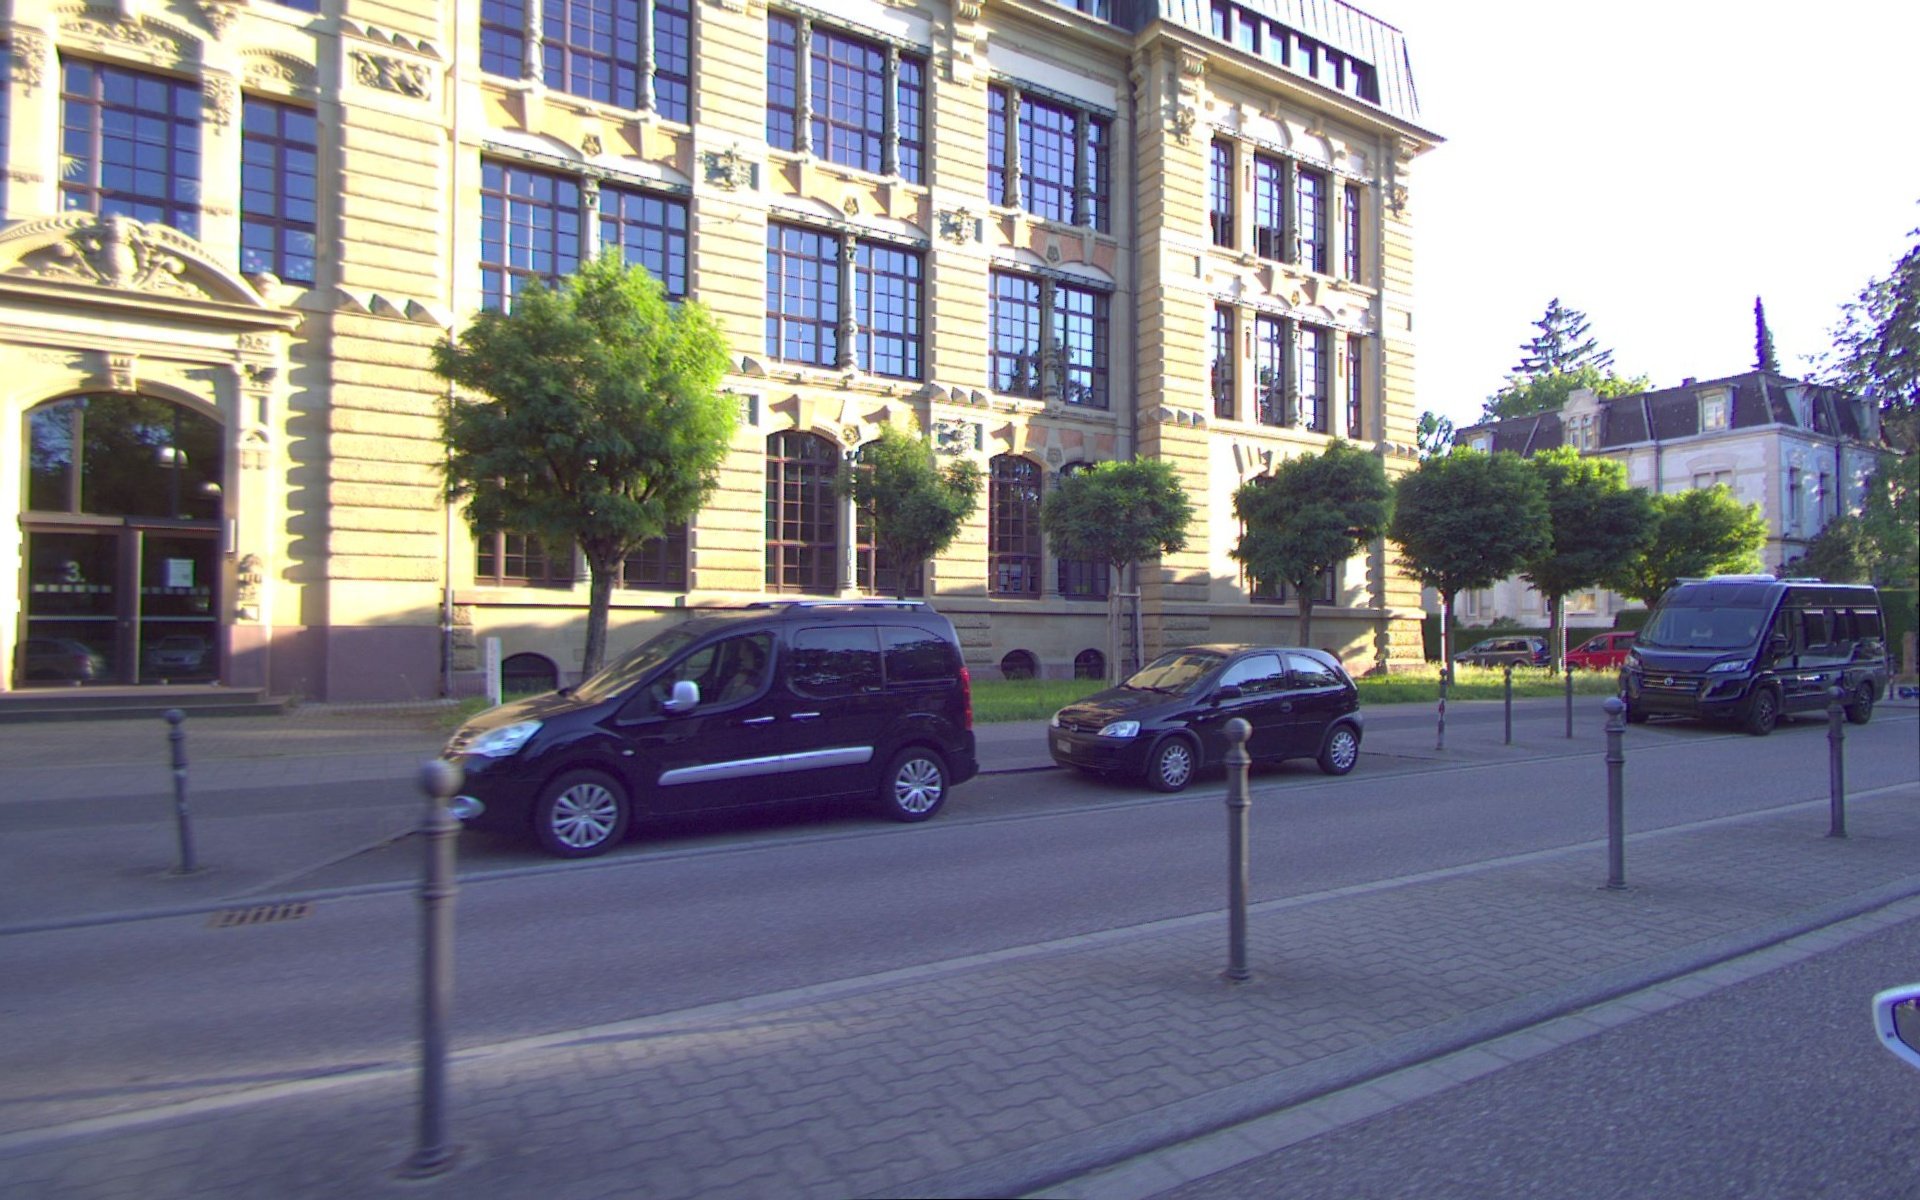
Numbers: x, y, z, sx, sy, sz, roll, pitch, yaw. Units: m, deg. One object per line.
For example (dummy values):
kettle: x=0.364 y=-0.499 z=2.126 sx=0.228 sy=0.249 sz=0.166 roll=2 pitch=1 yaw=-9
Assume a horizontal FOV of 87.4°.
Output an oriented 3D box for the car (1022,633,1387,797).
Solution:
car: x=2.766 y=1.173 z=11.231 sx=3.807 sy=1.490 sz=1.689 roll=2 pitch=0 yaw=-29

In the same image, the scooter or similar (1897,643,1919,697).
scooter or similar: x=23.638 y=1.704 z=24.306 sx=1.318 sy=1.291 sz=0.431 roll=0 pitch=-2 yaw=25

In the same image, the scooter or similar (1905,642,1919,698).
scooter or similar: x=22.937 y=1.644 z=23.426 sx=1.317 sy=1.291 sz=0.432 roll=1 pitch=-2 yaw=5

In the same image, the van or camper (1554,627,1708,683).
van or camper: x=26.988 y=2.168 z=40.574 sx=1.975 sy=2.012 sz=4.751 roll=-3 pitch=0 yaw=-28

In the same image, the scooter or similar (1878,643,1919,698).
scooter or similar: x=22.975 y=1.690 z=24.099 sx=1.318 sy=1.291 sz=0.431 roll=0 pitch=-2 yaw=25

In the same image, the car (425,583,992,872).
car: x=-2.017 y=0.869 z=8.418 sx=4.281 sy=1.891 sz=1.769 roll=1 pitch=0 yaw=-30

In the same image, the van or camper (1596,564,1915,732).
van or camper: x=14.531 y=0.834 z=18.167 sx=6.999 sy=2.578 sz=2.218 roll=2 pitch=-1 yaw=-31

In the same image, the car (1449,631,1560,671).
car: x=24.327 y=2.266 z=45.018 sx=1.899 sy=1.695 sz=3.965 roll=1 pitch=-2 yaw=-32
